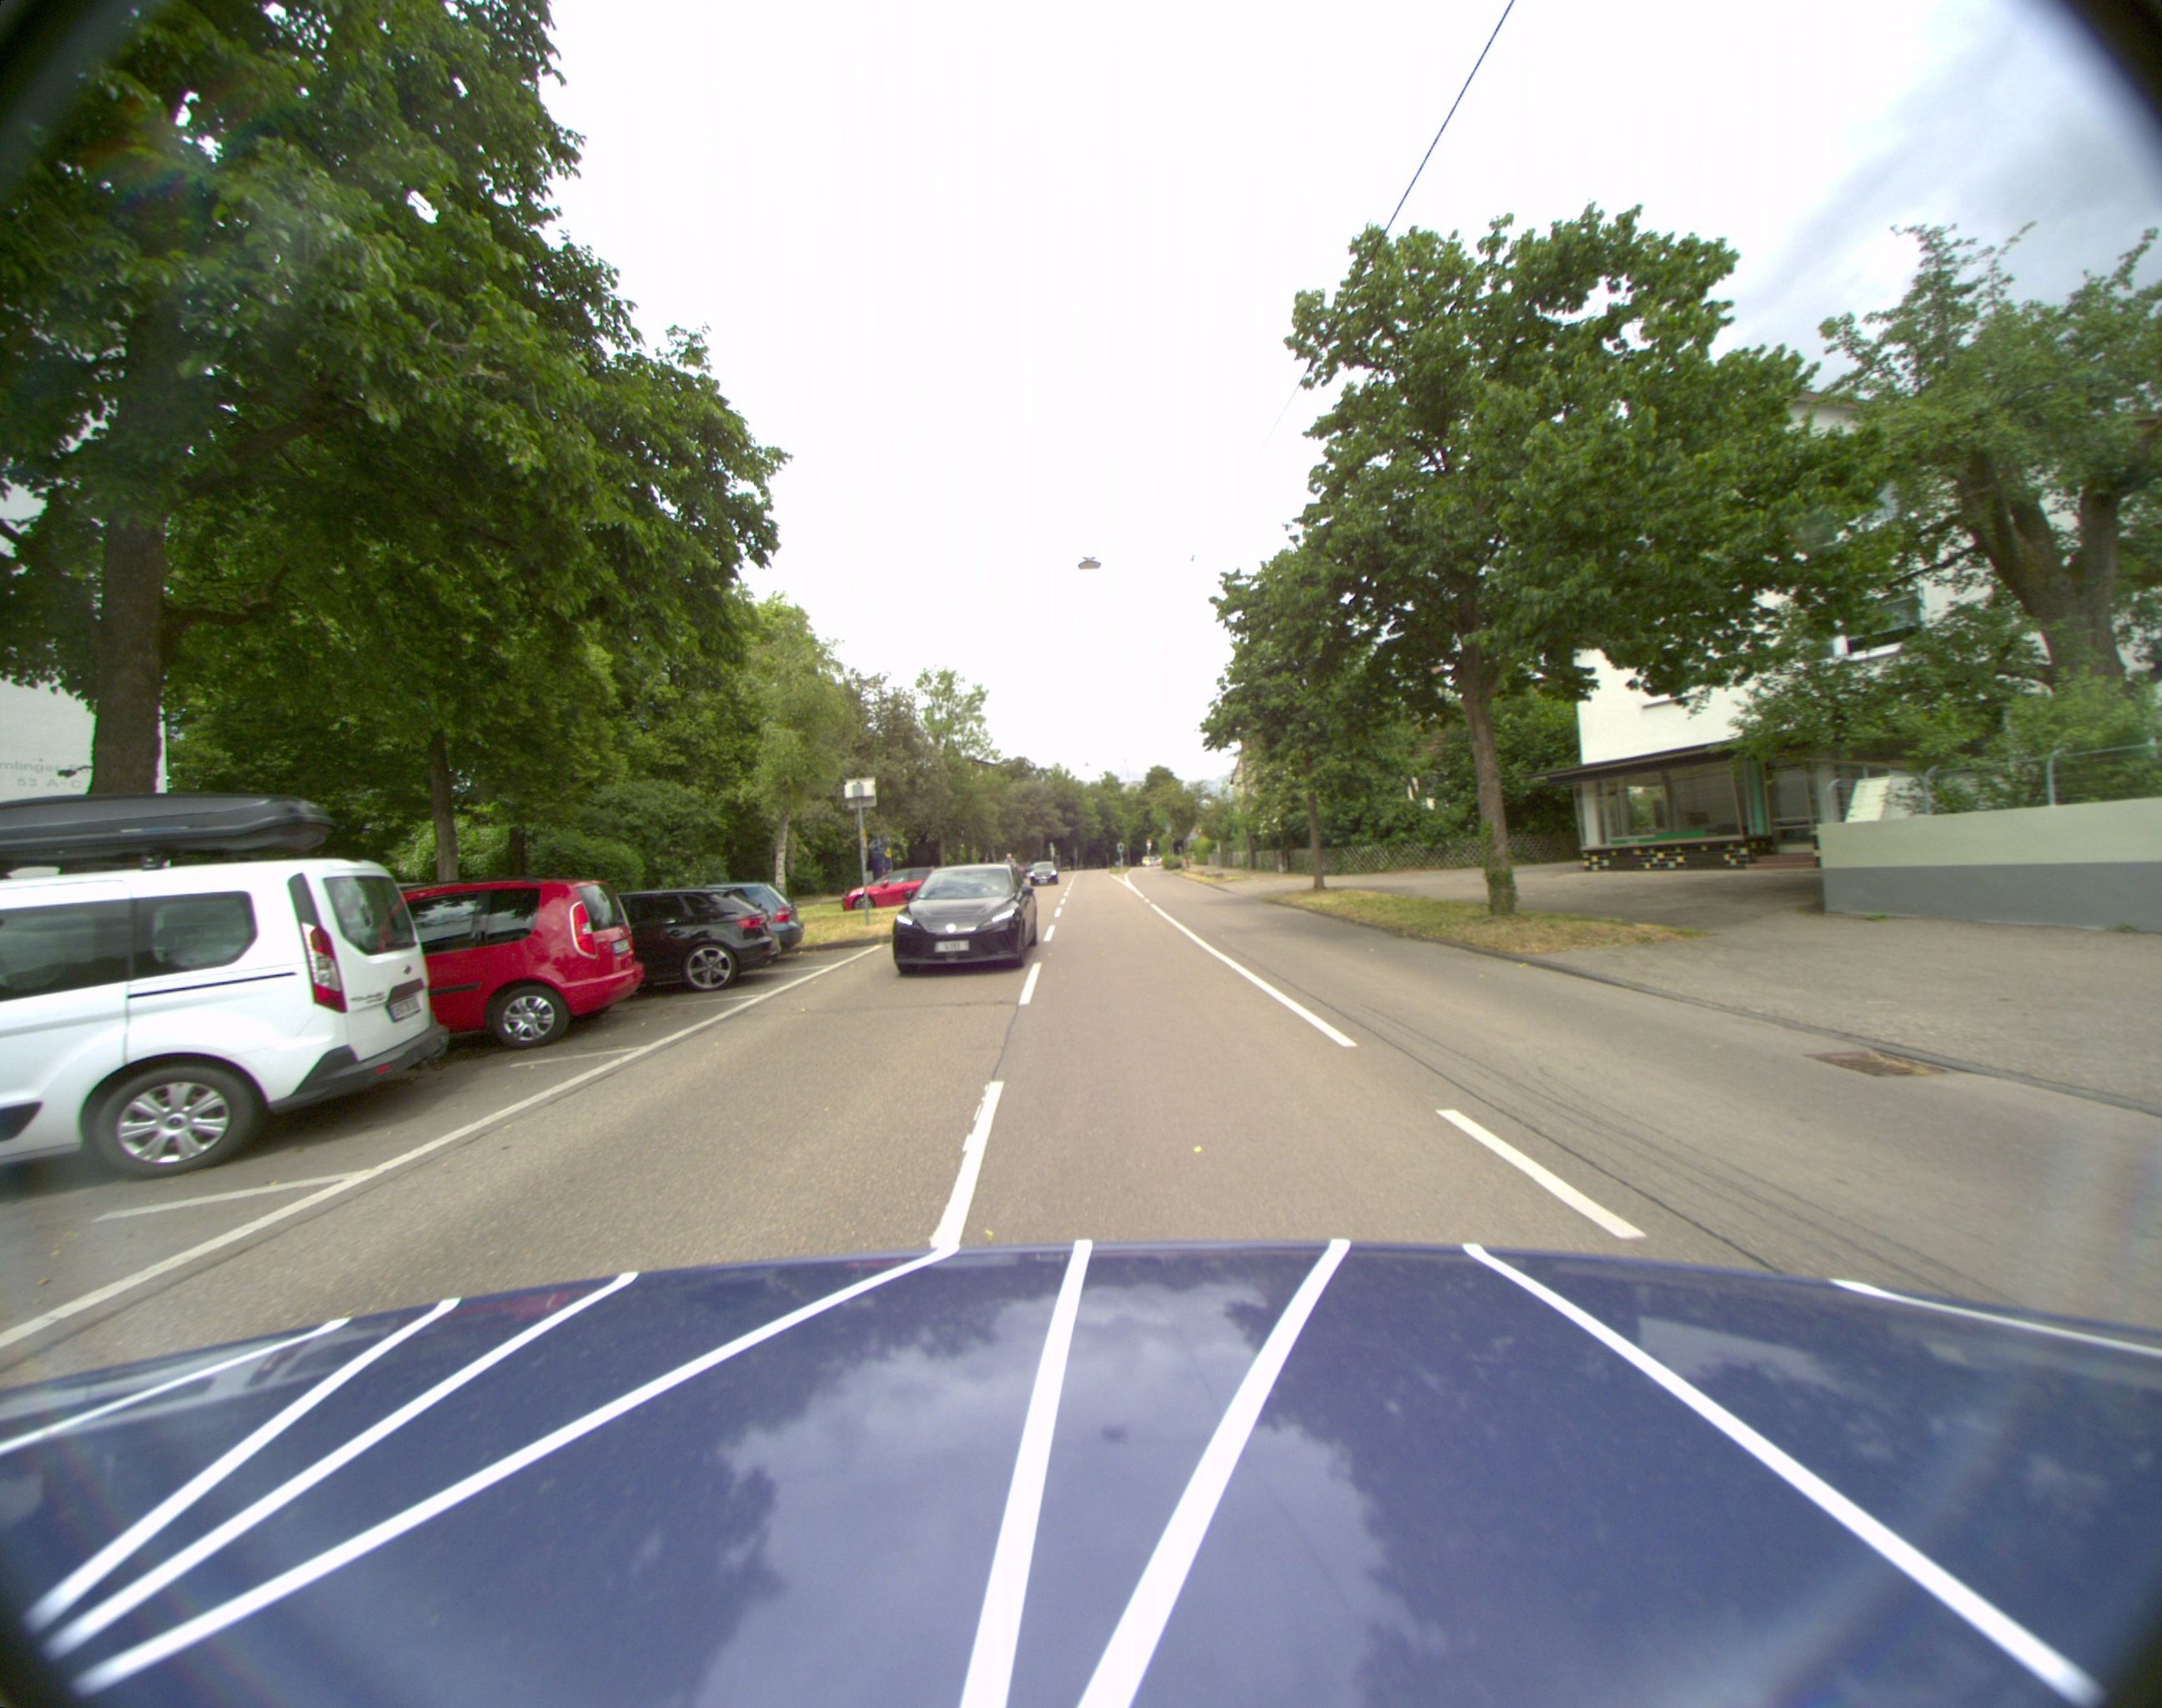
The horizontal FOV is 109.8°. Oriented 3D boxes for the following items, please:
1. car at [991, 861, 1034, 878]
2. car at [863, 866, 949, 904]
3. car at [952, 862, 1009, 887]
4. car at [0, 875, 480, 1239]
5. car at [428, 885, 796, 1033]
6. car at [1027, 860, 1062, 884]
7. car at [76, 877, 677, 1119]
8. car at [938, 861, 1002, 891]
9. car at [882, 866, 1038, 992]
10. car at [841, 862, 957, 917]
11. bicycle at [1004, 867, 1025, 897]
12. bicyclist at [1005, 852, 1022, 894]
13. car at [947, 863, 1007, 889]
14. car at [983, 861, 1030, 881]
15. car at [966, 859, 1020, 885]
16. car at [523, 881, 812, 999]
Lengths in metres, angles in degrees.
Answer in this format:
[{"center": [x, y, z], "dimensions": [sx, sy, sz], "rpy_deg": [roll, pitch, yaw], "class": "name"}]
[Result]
[{"center": [-6.562, 1.470, 72.626], "dimensions": [3.857, 1.378, 1.654], "rpy_deg": [-4, 1, -8], "class": "car"}, {"center": [-8.599, 1.493, 37.402], "dimensions": [3.860, 1.549, 1.652], "rpy_deg": [-4, 1, -20], "class": "car"}, {"center": [-7.078, 1.432, 53.675], "dimensions": [3.857, 1.378, 1.654], "rpy_deg": [-4, 1, -8], "class": "car"}, {"center": [-6.531, 1.170, 4.499], "dimensions": [4.226, 1.748, 1.856], "rpy_deg": [-4, 1, -24], "class": "car"}, {"center": [-6.089, 1.309, 10.365], "dimensions": [3.859, 1.426, 1.653], "rpy_deg": [-4, 1, -14], "class": "car"}, {"center": [-2.295, 1.132, 48.730], "dimensions": [1.861, 1.366, 4.076], "rpy_deg": [-3, 0, 1], "class": "car"}, {"center": [-6.447, 1.212, 7.544], "dimensions": [3.859, 1.634, 1.851], "rpy_deg": [-4, 1, -14], "class": "car"}, {"center": [-7.093, 1.391, 48.637], "dimensions": [3.857, 1.553, 1.654], "rpy_deg": [-4, 1, -8], "class": "car"}, {"center": [-1.704, 1.021, 11.912], "dimensions": [1.813, 1.484, 3.792], "rpy_deg": [-2, 1, -1], "class": "car"}, {"center": [-6.648, 1.245, 27.708], "dimensions": [3.860, 1.603, 1.652], "rpy_deg": [-4, 1, -20], "class": "car"}, {"center": [-2.923, 1.225, 33.250], "dimensions": [0.648, 1.230, 1.875], "rpy_deg": [-3, 0, -11], "class": "bicycle"}, {"center": [-2.962, 0.831, 33.321], "dimensions": [0.648, 1.768, 0.627], "rpy_deg": [-2, 1, -11], "class": "bicyclist"}, {"center": [-7.013, 1.481, 51.426], "dimensions": [3.857, 1.378, 1.654], "rpy_deg": [-4, 1, -8], "class": "car"}, {"center": [-6.367, 1.474, 65.050], "dimensions": [3.857, 1.378, 1.654], "rpy_deg": [-4, 1, -8], "class": "car"}, {"center": [-6.632, 1.345, 57.123], "dimensions": [3.857, 1.634, 1.654], "rpy_deg": [-4, 1, -8], "class": "car"}, {"center": [-6.677, 1.339, 12.714], "dimensions": [3.859, 1.426, 1.653], "rpy_deg": [-4, 1, -14], "class": "car"}]
